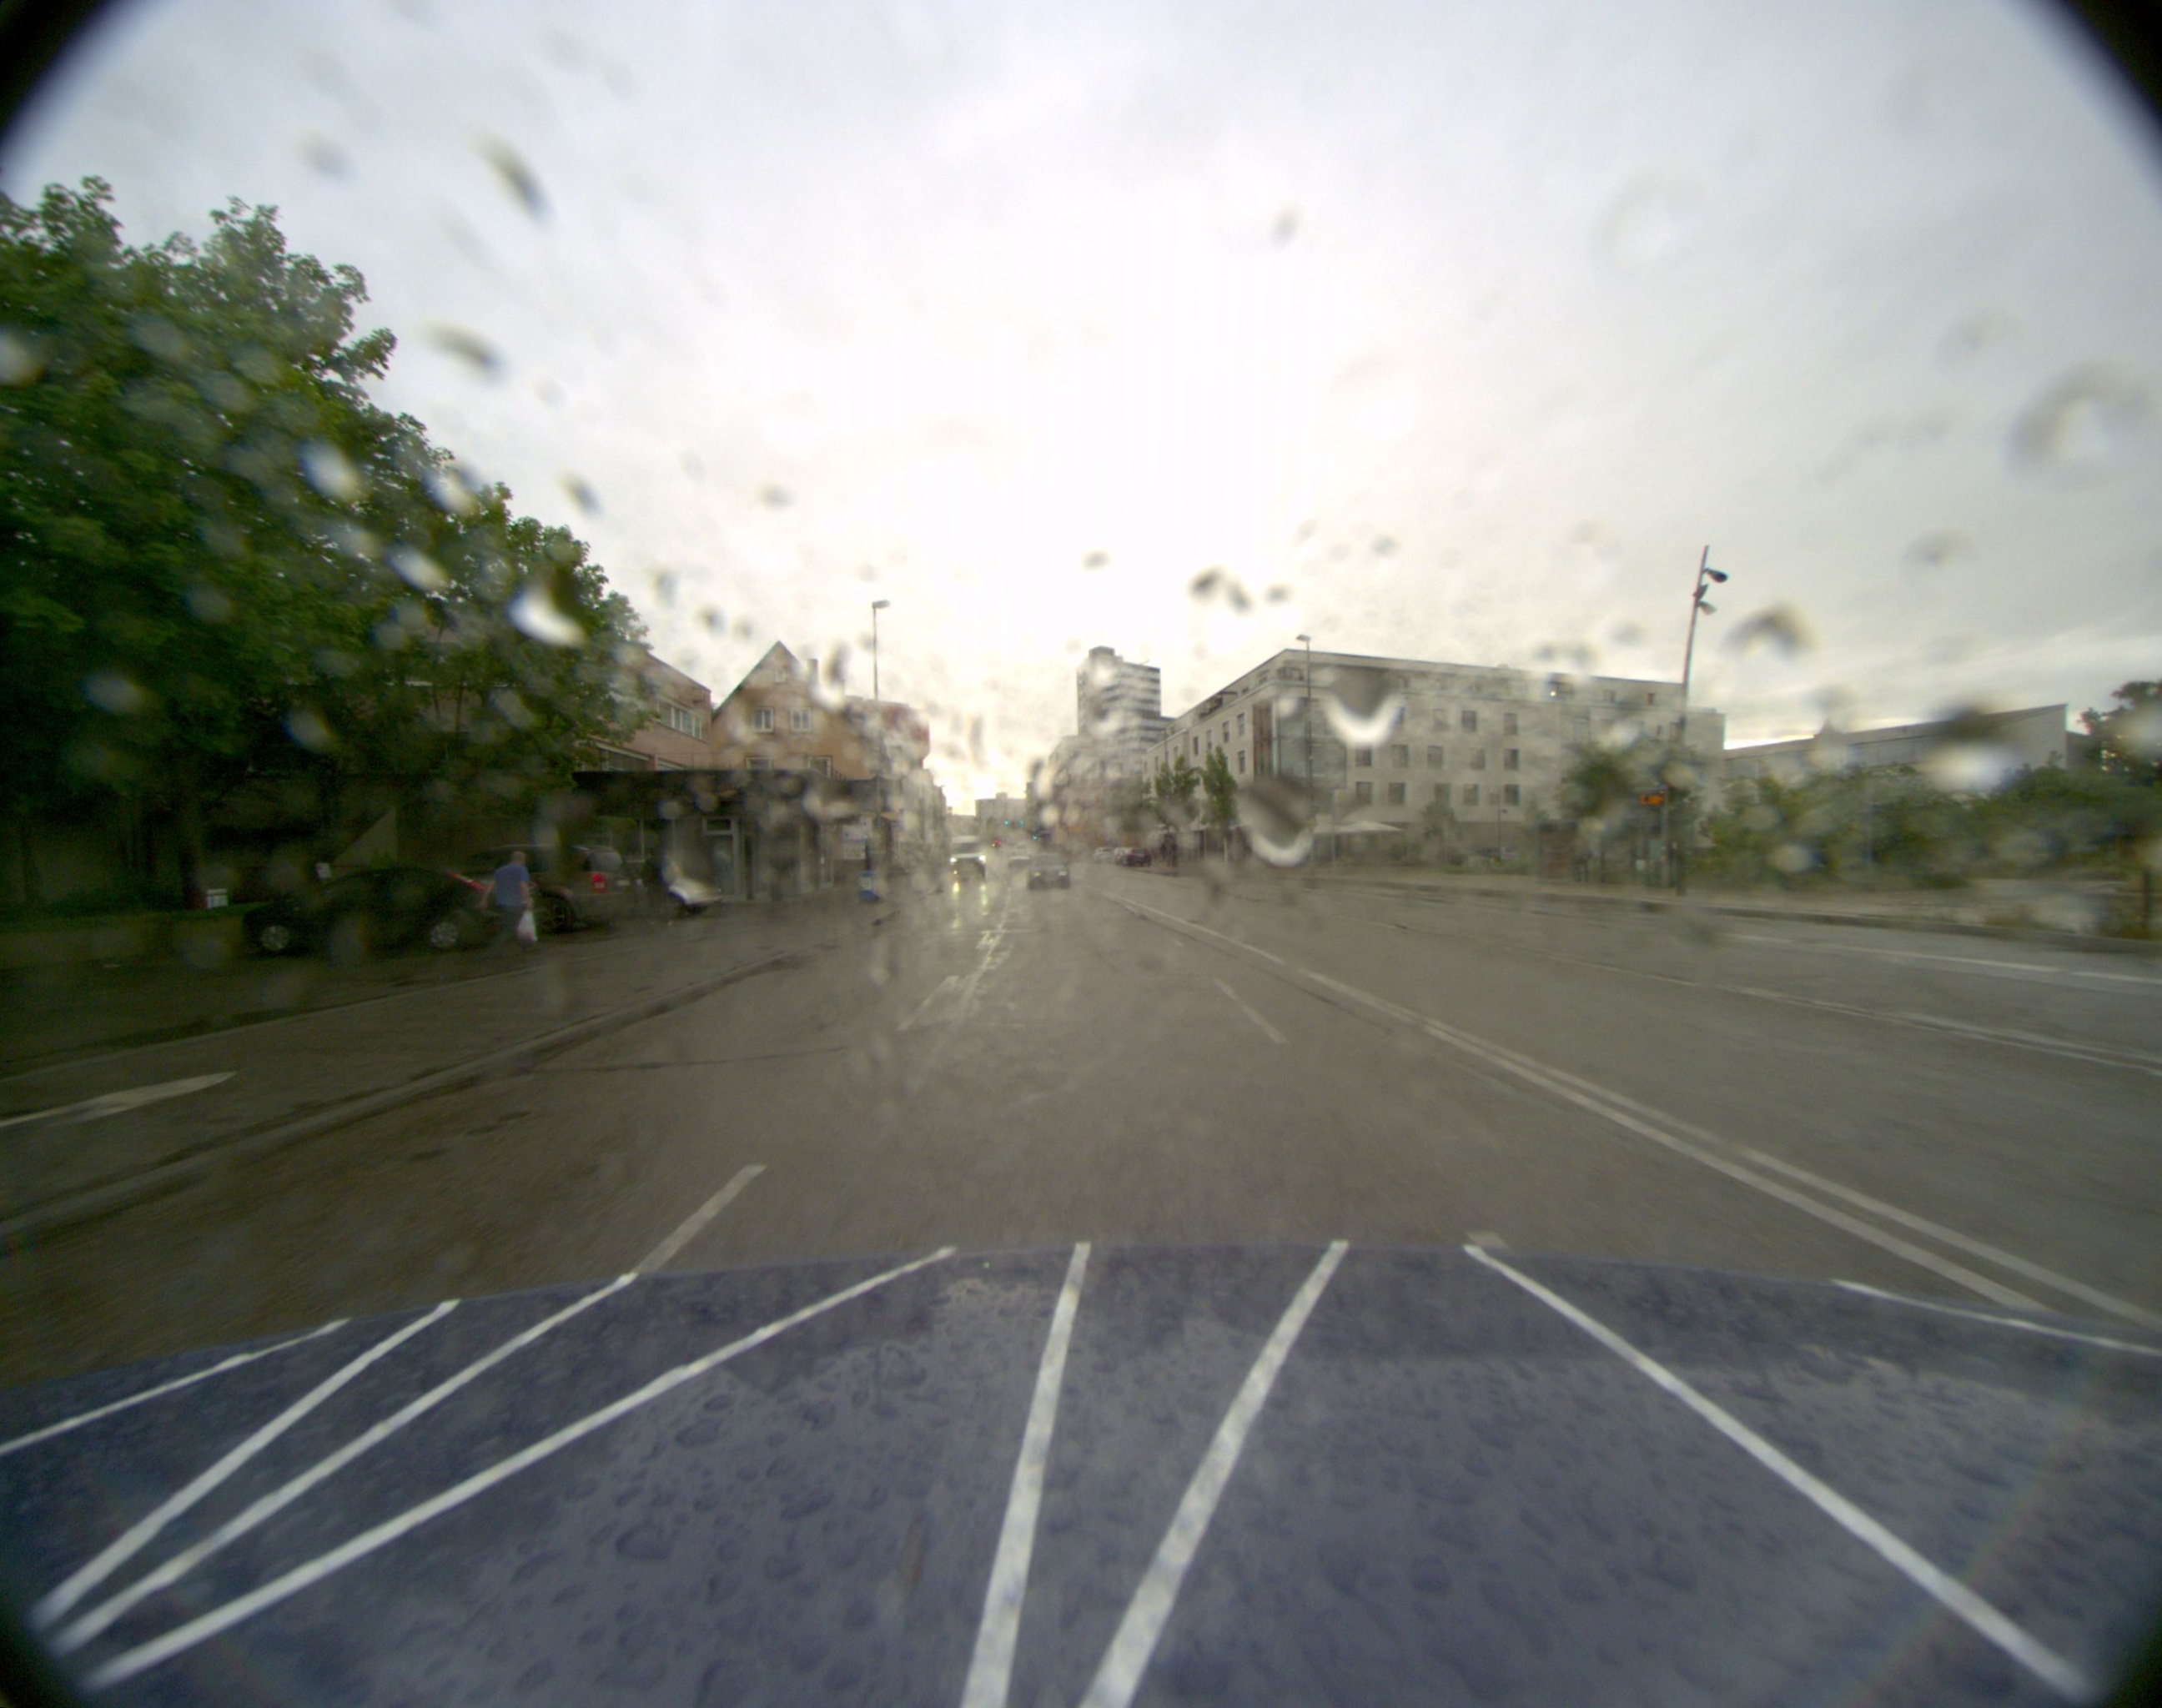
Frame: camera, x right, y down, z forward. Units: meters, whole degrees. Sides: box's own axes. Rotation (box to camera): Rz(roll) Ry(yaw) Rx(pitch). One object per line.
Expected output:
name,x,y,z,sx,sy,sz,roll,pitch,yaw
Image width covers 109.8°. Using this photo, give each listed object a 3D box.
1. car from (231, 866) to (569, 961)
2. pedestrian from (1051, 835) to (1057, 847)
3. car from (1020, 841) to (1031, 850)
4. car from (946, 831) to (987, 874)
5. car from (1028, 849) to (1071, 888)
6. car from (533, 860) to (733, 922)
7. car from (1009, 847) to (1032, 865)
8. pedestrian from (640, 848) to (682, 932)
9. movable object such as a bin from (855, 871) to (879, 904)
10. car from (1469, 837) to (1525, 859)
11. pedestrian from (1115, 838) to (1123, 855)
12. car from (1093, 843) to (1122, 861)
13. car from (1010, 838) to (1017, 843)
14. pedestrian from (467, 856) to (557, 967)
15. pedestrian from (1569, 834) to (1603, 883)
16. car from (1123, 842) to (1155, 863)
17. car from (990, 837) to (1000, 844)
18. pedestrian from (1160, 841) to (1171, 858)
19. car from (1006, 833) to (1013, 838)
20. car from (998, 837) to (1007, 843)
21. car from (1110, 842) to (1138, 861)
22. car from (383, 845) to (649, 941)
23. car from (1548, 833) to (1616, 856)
car,-11.799,0.985,13.444,4.160,1.446,1.801,-1,1,-5
pedestrian,-4.523,-2.183,127.467,0.663,1.911,0.945,-4,4,-16
car,-11.108,-1.691,152.475,1.886,1.515,4.179,-1,3,-8
car,-7.060,-0.178,47.068,2.298,2.369,6.617,-1,3,-8
car,-1.400,0.587,32.916,1.689,1.373,3.790,-2,3,-4
car,-11.255,0.903,19.309,3.998,1.439,1.746,-1,1,-3
car,-4.830,0.140,60.681,1.663,1.301,3.990,-1,3,-7
pedestrian,-9.500,0.789,17.188,0.711,1.811,0.794,-2,4,-33
movable object such as a bin,-7.235,1.124,25.704,0.638,1.068,0.698,-1,0,-4
car,31.142,-0.478,56.936,1.503,1.451,3.426,-2,3,-25
pedestrian,4.146,-0.816,82.550,0.803,1.778,0.881,-1,3,-4
car,2.464,-0.177,71.615,1.801,1.455,4.472,-2,3,-10
car,-17.747,-3.555,199.196,1.654,1.410,4.134,1,2,-7
pedestrian,-9.114,0.888,12.200,0.878,1.727,0.759,0,0,-5
pedestrian,18.579,0.159,27.968,0.786,1.736,0.672,-2,3,-22
car,4.516,-0.117,60.067,1.592,1.573,4.466,-1,1,-8
car,-19.661,-3.167,173.701,1.721,1.442,4.192,-1,3,-11
pedestrian,8.800,-0.513,79.136,0.811,1.729,1.002,-1,3,-9
car,-21.686,-5.643,231.853,2.007,1.609,4.943,-1,3,-5
car,-19.038,-3.398,184.272,1.774,1.406,4.520,-1,3,-9
car,3.695,-0.235,65.974,1.696,1.502,4.573,-1,3,-5
car,-11.716,0.767,16.012,4.105,1.860,1.875,-1,1,-3
car,39.523,-0.756,59.991,2.002,1.680,3.990,-2,3,-26
